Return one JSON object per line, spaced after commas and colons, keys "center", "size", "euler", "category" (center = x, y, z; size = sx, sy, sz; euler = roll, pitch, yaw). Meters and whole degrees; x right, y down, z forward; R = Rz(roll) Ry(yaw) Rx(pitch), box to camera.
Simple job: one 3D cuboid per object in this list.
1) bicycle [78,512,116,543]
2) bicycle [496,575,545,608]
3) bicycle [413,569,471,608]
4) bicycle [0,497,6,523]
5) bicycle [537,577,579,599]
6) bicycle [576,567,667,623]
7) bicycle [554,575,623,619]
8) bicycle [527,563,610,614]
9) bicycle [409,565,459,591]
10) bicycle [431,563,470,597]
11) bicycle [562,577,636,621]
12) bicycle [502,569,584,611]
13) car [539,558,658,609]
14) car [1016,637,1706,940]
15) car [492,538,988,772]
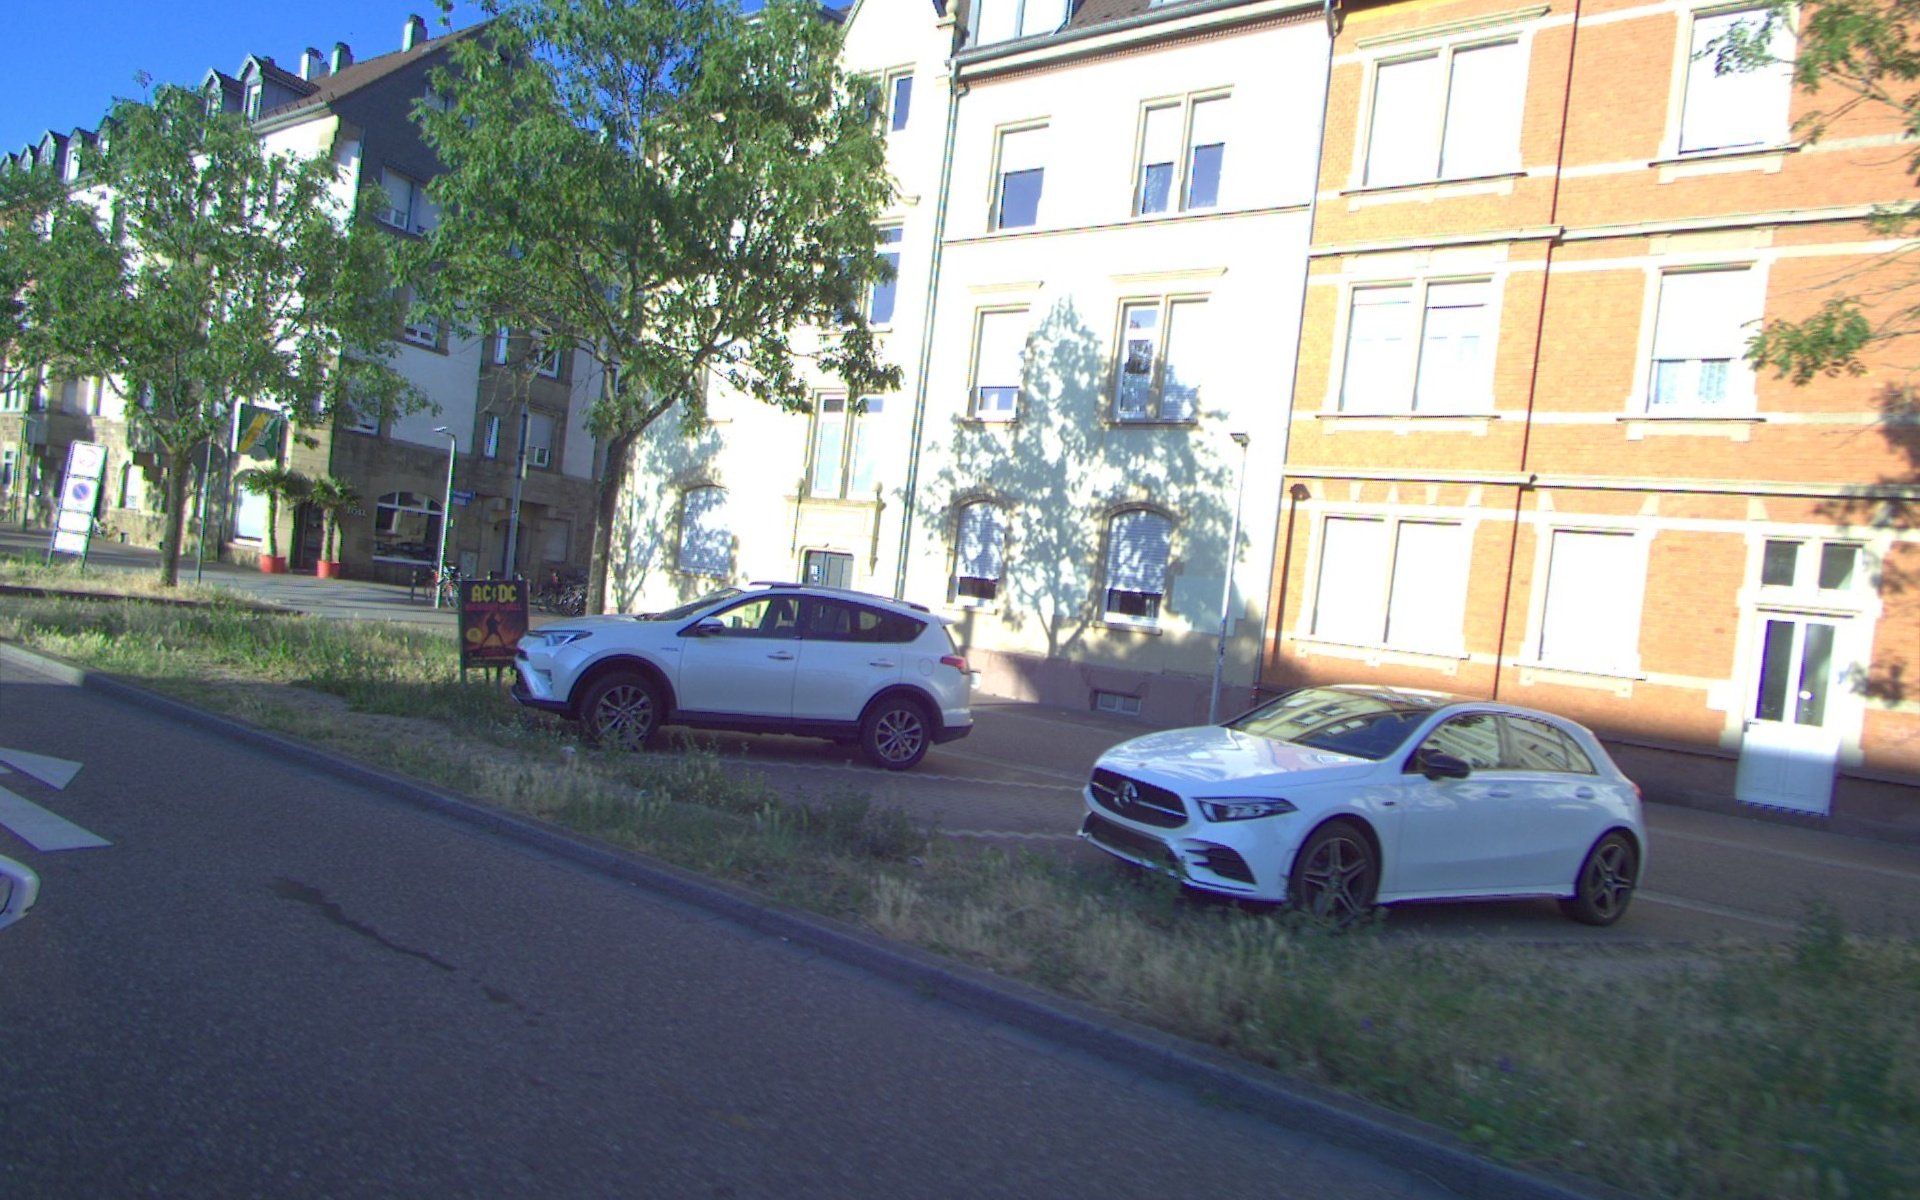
{"center": [-34.752, -2.915, 40.494], "size": [1.865, 1.087, 0.572], "euler": [7, 2, 32], "category": "bicycle"}
{"center": [-16.235, -0.321, 37.156], "size": [1.853, 0.959, 0.629], "euler": [8, 1, 32], "category": "bicycle"}
{"center": [-13.417, -0.311, 26.026], "size": [1.853, 0.885, 0.459], "euler": [6, 5, 32], "category": "bicycle"}
{"center": [-44.994, -4.234, 46.778], "size": [1.717, 1.182, 0.482], "euler": [7, 6, 32], "category": "bicycle"}
{"center": [-16.594, -0.497, 41.576], "size": [0.522, 0.744, 1.543], "euler": [8, 0, 31], "category": "bicycle"}
{"center": [-9.890, -0.126, 29.527], "size": [0.718, 1.401, 2.670], "euler": [7, 0, 28], "category": "bicycle"}
{"center": [-11.176, -0.064, 30.326], "size": [0.565, 1.138, 1.976], "euler": [7, 0, 28], "category": "bicycle"}
{"center": [-11.954, -0.326, 30.819], "size": [0.718, 1.336, 2.354], "euler": [7, 0, 28], "category": "bicycle"}
{"center": [-19.296, -0.801, 36.934], "size": [0.522, 0.744, 1.543], "euler": [8, 0, 31], "category": "bicycle"}
{"center": [-17.647, -0.691, 34.853], "size": [0.626, 0.959, 1.861], "euler": [7, 1, -43], "category": "bicycle"}
{"center": [-10.701, -0.025, 29.881], "size": [0.529, 1.119, 2.209], "euler": [7, 0, 28], "category": "bicycle"}
{"center": [-12.817, -0.291, 31.008], "size": [0.718, 1.063, 2.332], "euler": [7, 0, 28], "category": "bicycle"}
{"center": [-14.423, -0.643, 40.326], "size": [1.966, 1.484, 3.992], "euler": [10, 1, 31], "category": "car"}
{"center": [2.887, 1.251, 7.103], "size": [4.502, 1.416, 2.017], "euler": [7, -1, -28], "category": "car"}
{"center": [-2.169, 0.571, 10.111], "size": [4.376, 1.712, 1.905], "euler": [8, 0, -24], "category": "car"}
